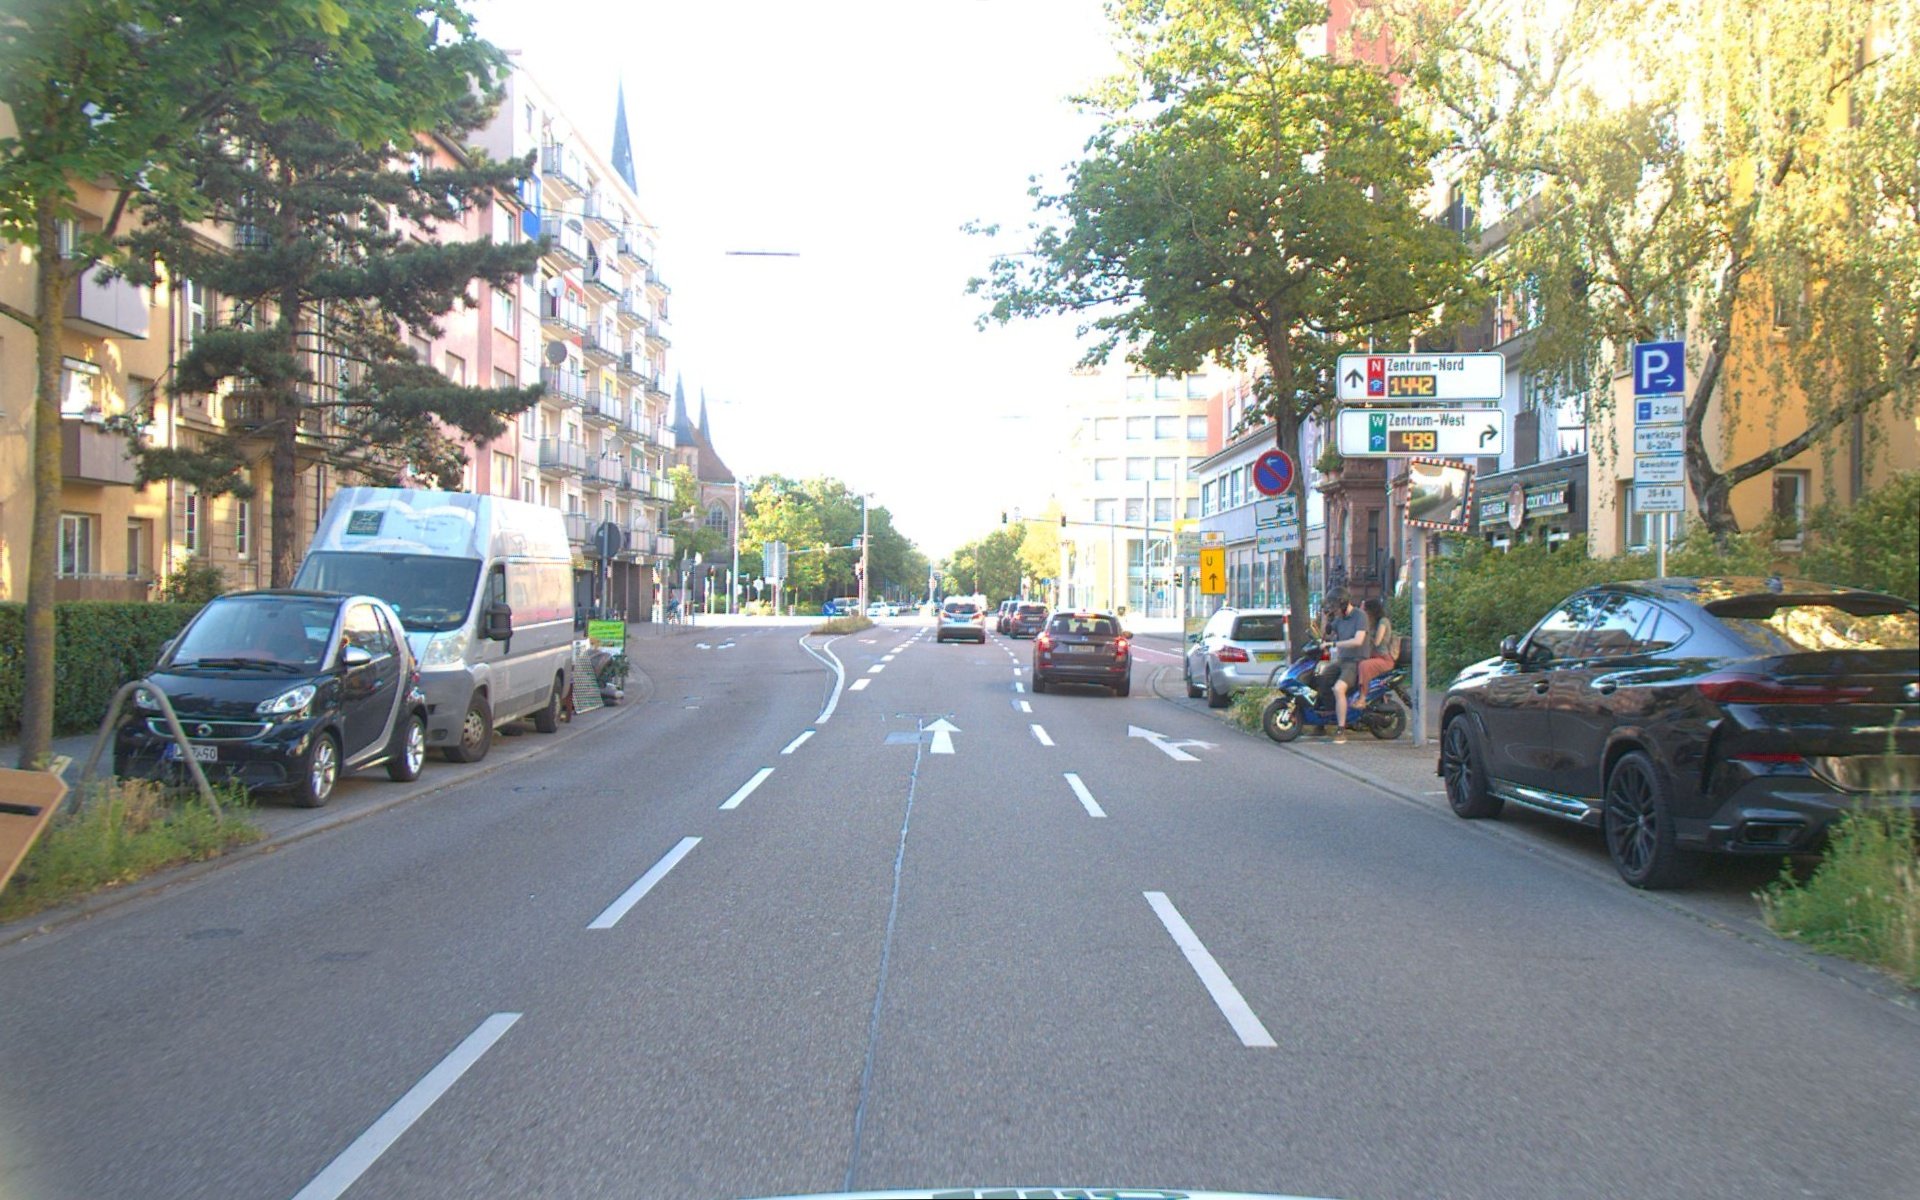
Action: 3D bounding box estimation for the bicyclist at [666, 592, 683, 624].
[{"bbox_3d":[-15.420,0.454,89.279,0.766,1.689,0.900,2,-1,-2],"label":"bicyclist"}]

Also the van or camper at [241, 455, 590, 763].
[{"bbox_3d":[-5.623,0.084,18.063,1.995,2.710,6.012,3,0,-3],"label":"van or camper"}]

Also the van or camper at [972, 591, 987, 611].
[{"bbox_3d":[2.647,0.177,227.252,1.952,2.686,5.351,1,0,1],"label":"van or camper"}]

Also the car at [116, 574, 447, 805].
[{"bbox_3d":[-5.220,0.628,13.059,1.375,1.575,2.762,2,0,1],"label":"car"}]

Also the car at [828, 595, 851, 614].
[{"bbox_3d":[-10.780,0.422,148.005,1.743,1.676,4.000,1,0,0],"label":"car"}]

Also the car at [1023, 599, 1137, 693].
[{"bbox_3d":[2.096,0.773,29.861,1.673,1.482,4.158,2,0,0],"label":"car"}]

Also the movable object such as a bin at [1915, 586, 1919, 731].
[{"bbox_3d":[11.079,0.643,17.692,1.134,1.583,0.992,0,0,-10],"label":"movable object such as a bin"}]

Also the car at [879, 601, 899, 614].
[{"bbox_3d":[-7.246,0.755,169.007,1.743,1.258,4.000,1,0,0],"label":"car"}]

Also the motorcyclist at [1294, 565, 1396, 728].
[{"bbox_3d":[4.386,0.516,18.900,0.723,1.809,1.085,1,0,-12],"label":"motorcyclist"}]

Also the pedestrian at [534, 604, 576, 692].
[{"bbox_3d":[-6.578,0.775,26.886,0.548,1.402,0.480,2,0,-6],"label":"pedestrian"}]

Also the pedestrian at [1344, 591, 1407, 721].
[{"bbox_3d":[4.749,0.626,18.931,0.430,1.455,0.702,1,0,-12],"label":"pedestrian"}]

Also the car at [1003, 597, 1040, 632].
[{"bbox_3d":[2.803,0.648,75.820,1.459,1.532,3.478,0,0,-1],"label":"car"}]

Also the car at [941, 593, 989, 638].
[{"bbox_3d":[0.160,0.527,60.502,1.673,1.536,4.308,2,0,0],"label":"car"}]

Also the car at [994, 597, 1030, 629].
[{"bbox_3d":[2.521,0.617,81.133,1.552,1.472,3.647,2,0,-1],"label":"car"}]

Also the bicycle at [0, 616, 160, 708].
[{"bbox_3d":[-10.415,0.719,19.429,1.722,0.998,0.590,2,0,0],"label":"bicycle"}]

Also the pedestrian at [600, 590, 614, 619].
[{"bbox_3d":[-16.988,0.222,79.630,0.473,1.408,0.481,1,-1,20],"label":"pedestrian"}]

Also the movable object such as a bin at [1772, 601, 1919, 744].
[{"bbox_3d":[9.472,0.748,17.686,1.226,1.467,0.995,0,0,14],"label":"movable object such as a bin"}]

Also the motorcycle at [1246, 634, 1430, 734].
[{"bbox_3d":[4.341,0.953,19.044,1.892,1.090,0.818,1,0,-13],"label":"motorcycle"}]

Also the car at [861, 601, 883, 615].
[{"bbox_3d":[-7.811,0.709,147.480,1.743,1.258,4.000,1,0,0],"label":"car"}]

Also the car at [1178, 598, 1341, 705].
[{"bbox_3d":[4.713,0.761,26.703,1.817,1.539,4.835,-1,0,1],"label":"car"}]

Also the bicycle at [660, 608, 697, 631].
[{"bbox_3d":[-15.127,1.043,88.884,1.790,1.209,0.734,2,0,-2],"label":"bicycle"}]

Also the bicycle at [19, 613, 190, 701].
[{"bbox_3d":[-10.424,0.687,20.182,1.748,0.998,0.590,2,0,0],"label":"bicycle"}]

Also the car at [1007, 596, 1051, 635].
[{"bbox_3d":[2.850,0.613,68.836,1.617,1.510,4.239,2,0,0],"label":"car"}]

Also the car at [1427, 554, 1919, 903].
[{"bbox_3d":[4.629,0.621,10.422,1.908,1.684,4.795,0,0,-1],"label":"car"}]
